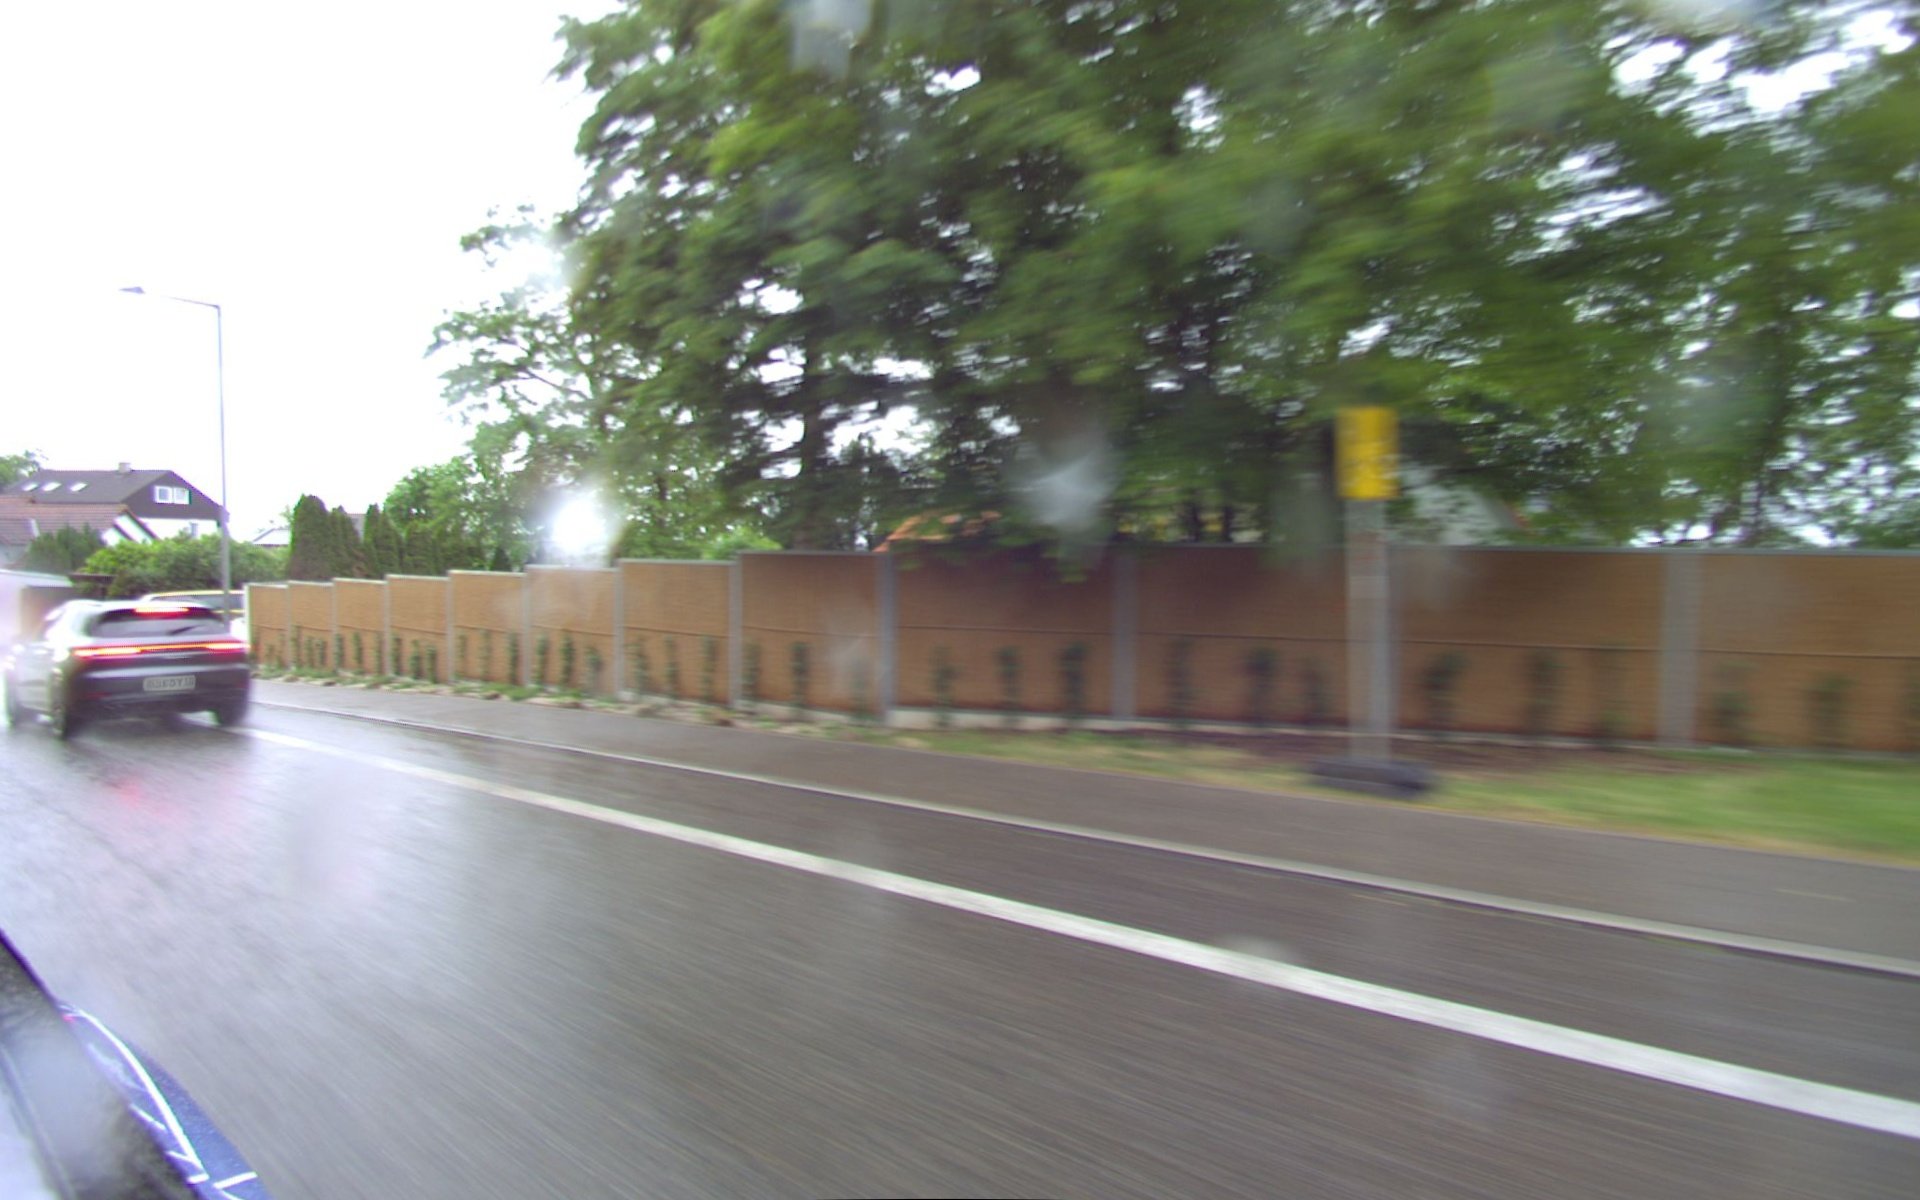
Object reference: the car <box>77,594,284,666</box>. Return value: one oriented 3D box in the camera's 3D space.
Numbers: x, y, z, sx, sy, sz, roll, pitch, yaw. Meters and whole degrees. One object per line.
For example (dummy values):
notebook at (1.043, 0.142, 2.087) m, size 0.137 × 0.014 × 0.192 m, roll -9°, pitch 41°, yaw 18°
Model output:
car at (-22.936, 0.833, 29.926) m, size 2.086 × 1.874 × 4.461 m, roll -2°, pitch 0°, yaw 37°

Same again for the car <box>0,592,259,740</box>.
car at (-11.312, 0.781, 13.566) m, size 4.540 × 1.660 × 1.900 m, roll -1°, pitch 0°, yaw 38°
